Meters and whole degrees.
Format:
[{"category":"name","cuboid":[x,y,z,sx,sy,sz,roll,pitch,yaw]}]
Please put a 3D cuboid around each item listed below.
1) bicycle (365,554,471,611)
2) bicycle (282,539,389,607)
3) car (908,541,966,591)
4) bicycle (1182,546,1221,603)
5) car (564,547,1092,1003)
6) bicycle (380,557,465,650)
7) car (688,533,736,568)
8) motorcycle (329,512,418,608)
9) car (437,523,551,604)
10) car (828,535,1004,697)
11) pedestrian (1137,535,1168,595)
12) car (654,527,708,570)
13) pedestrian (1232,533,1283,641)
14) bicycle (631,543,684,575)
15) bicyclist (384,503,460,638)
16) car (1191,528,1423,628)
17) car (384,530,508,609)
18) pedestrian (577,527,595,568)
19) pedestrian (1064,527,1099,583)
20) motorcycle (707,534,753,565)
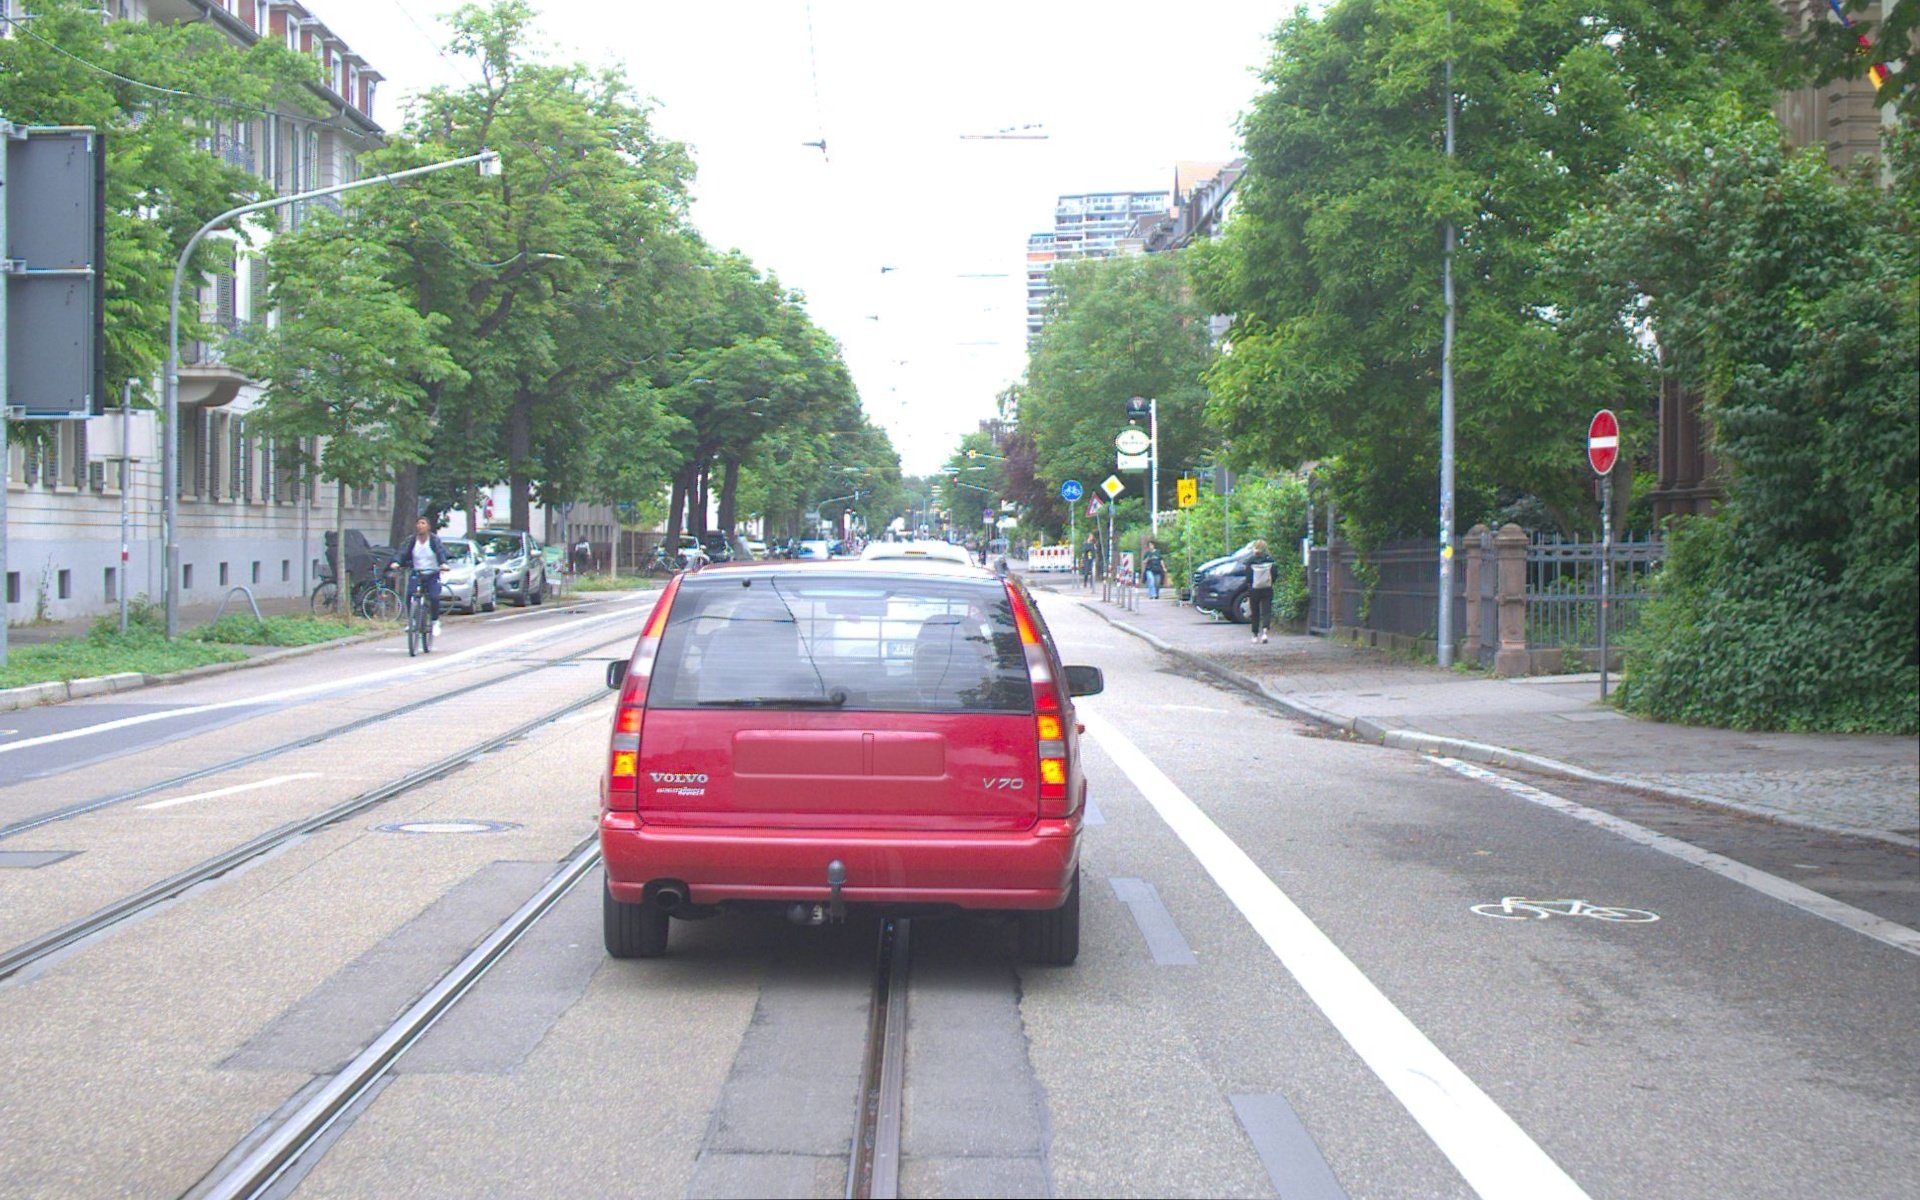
[{"category":"bicycle","cuboid":[-10.051,-0.328,63.749,1.894,1.023,0.564,1,1,-5]},{"category":"bicycle","cuboid":[-10.552,-0.457,58.072,1.743,1.125,0.517,1,1,18]},{"category":"car","cuboid":[-0.760,-1.131,113.007,1.741,1.600,4.001,0,1,-3]},{"category":"bicycle","cuboid":[5.087,-0.547,72.528,0.632,1.124,1.812,-2,2,-1]},{"category":"car","cuboid":[-0.420,0.532,12.899,1.689,1.436,3.743,0,1,0]},{"category":"bicycle","cuboid":[-7.197,0.033,46.104,0.791,1.182,2.011,-2,1,0]},{"category":"car","cuboid":[-11.034,-2.211,153.185,1.777,1.505,4.238,1,1,0]},{"category":"motorcycle","cuboid":[-10.198,-0.705,59.864,0.833,1.637,2.479,1,1,7]},{"category":"car","cuboid":[-10.222,-0.823,75.728,1.837,1.655,4.293,3,1,0]},{"category":"car","cuboid":[-0.420,0.126,36.597,1.719,1.619,3.941,1,1,1]},{"category":"pedestrian","cuboid":[5.237,-0.962,93.513,0.793,1.630,0.836,1,1,0]},{"category":"car","cuboid":[-10.881,-2.016,134.272,1.897,1.650,4.226,1,1,-2]},{"category":"pedestrian","cuboid":[4.659,-0.212,53.947,0.623,1.665,0.960,-3,1,-1]},{"category":"bicycle","cuboid":[-11.424,-1.551,129.836,1.922,1.117,0.624,2,1,-1]},{"category":"bicyclist","cuboid":[-7.200,-0.402,46.067,0.791,1.777,1.147,-1,1,0]},{"category":"car","cuboid":[6.643,-0.434,66.188,4.280,1.803,1.823,-1,1,1]},{"category":"car","cuboid":[-10.016,-0.614,67.230,1.811,1.461,4.614,1,1,-1]},{"category":"pedestrian","cuboid":[-13.333,-1.878,122.434,0.564,1.462,0.723,0,1,0]},{"category":"pedestrian","cuboid":[3.602,-1.339,101.522,0.873,1.650,0.908,1,1,12]},{"category":"motorcycle","cuboid":[-11.680,-2.569,174.547,2.269,1.506,0.925,1,-1,35]}]
